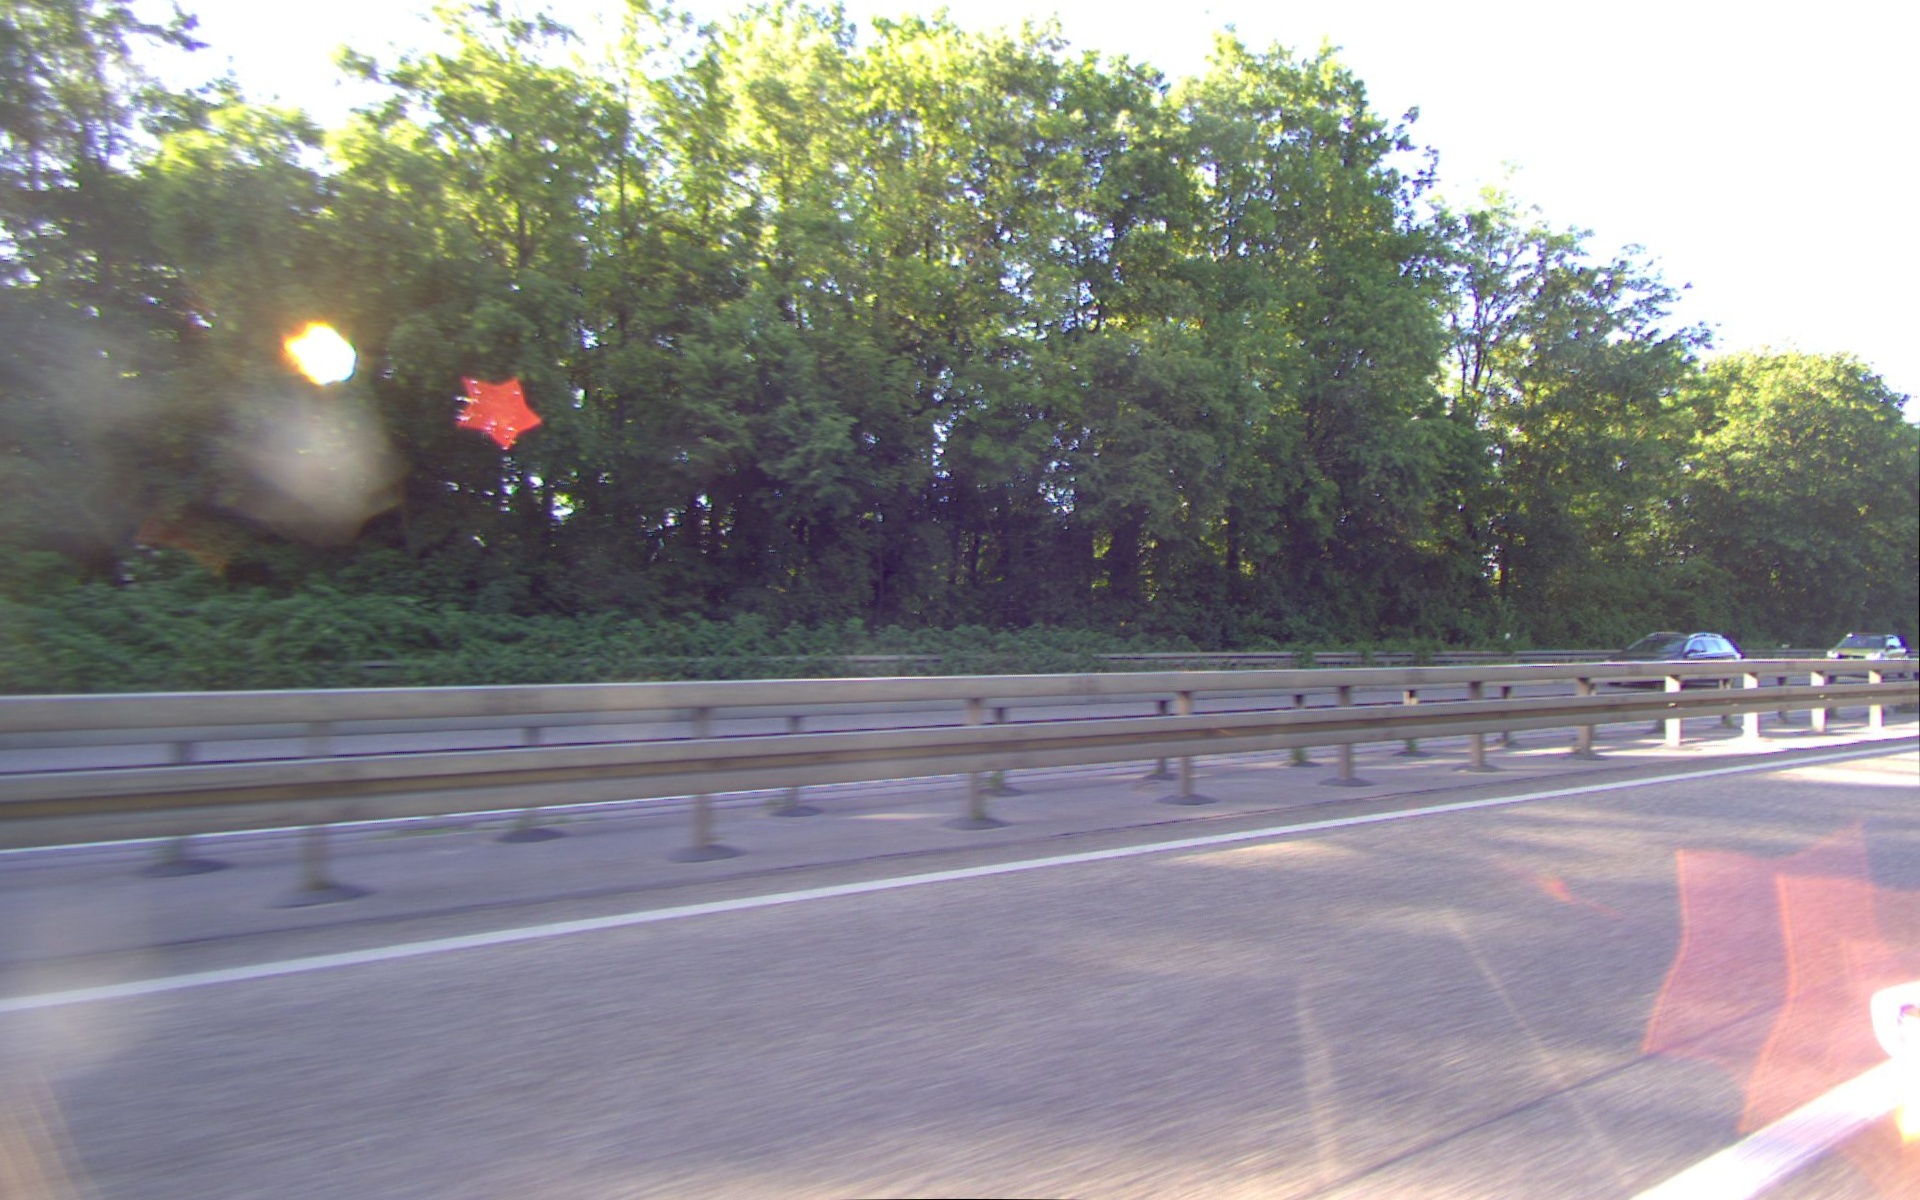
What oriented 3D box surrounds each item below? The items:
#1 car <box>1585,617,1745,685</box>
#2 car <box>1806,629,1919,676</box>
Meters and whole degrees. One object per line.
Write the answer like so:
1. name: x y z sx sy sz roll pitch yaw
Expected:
1. car: 19.777 1.408 28.159 4.497 1.773 1.984 1 -3 -31
2. car: 32.569 1.857 36.170 3.953 1.605 1.984 1 -3 -31
